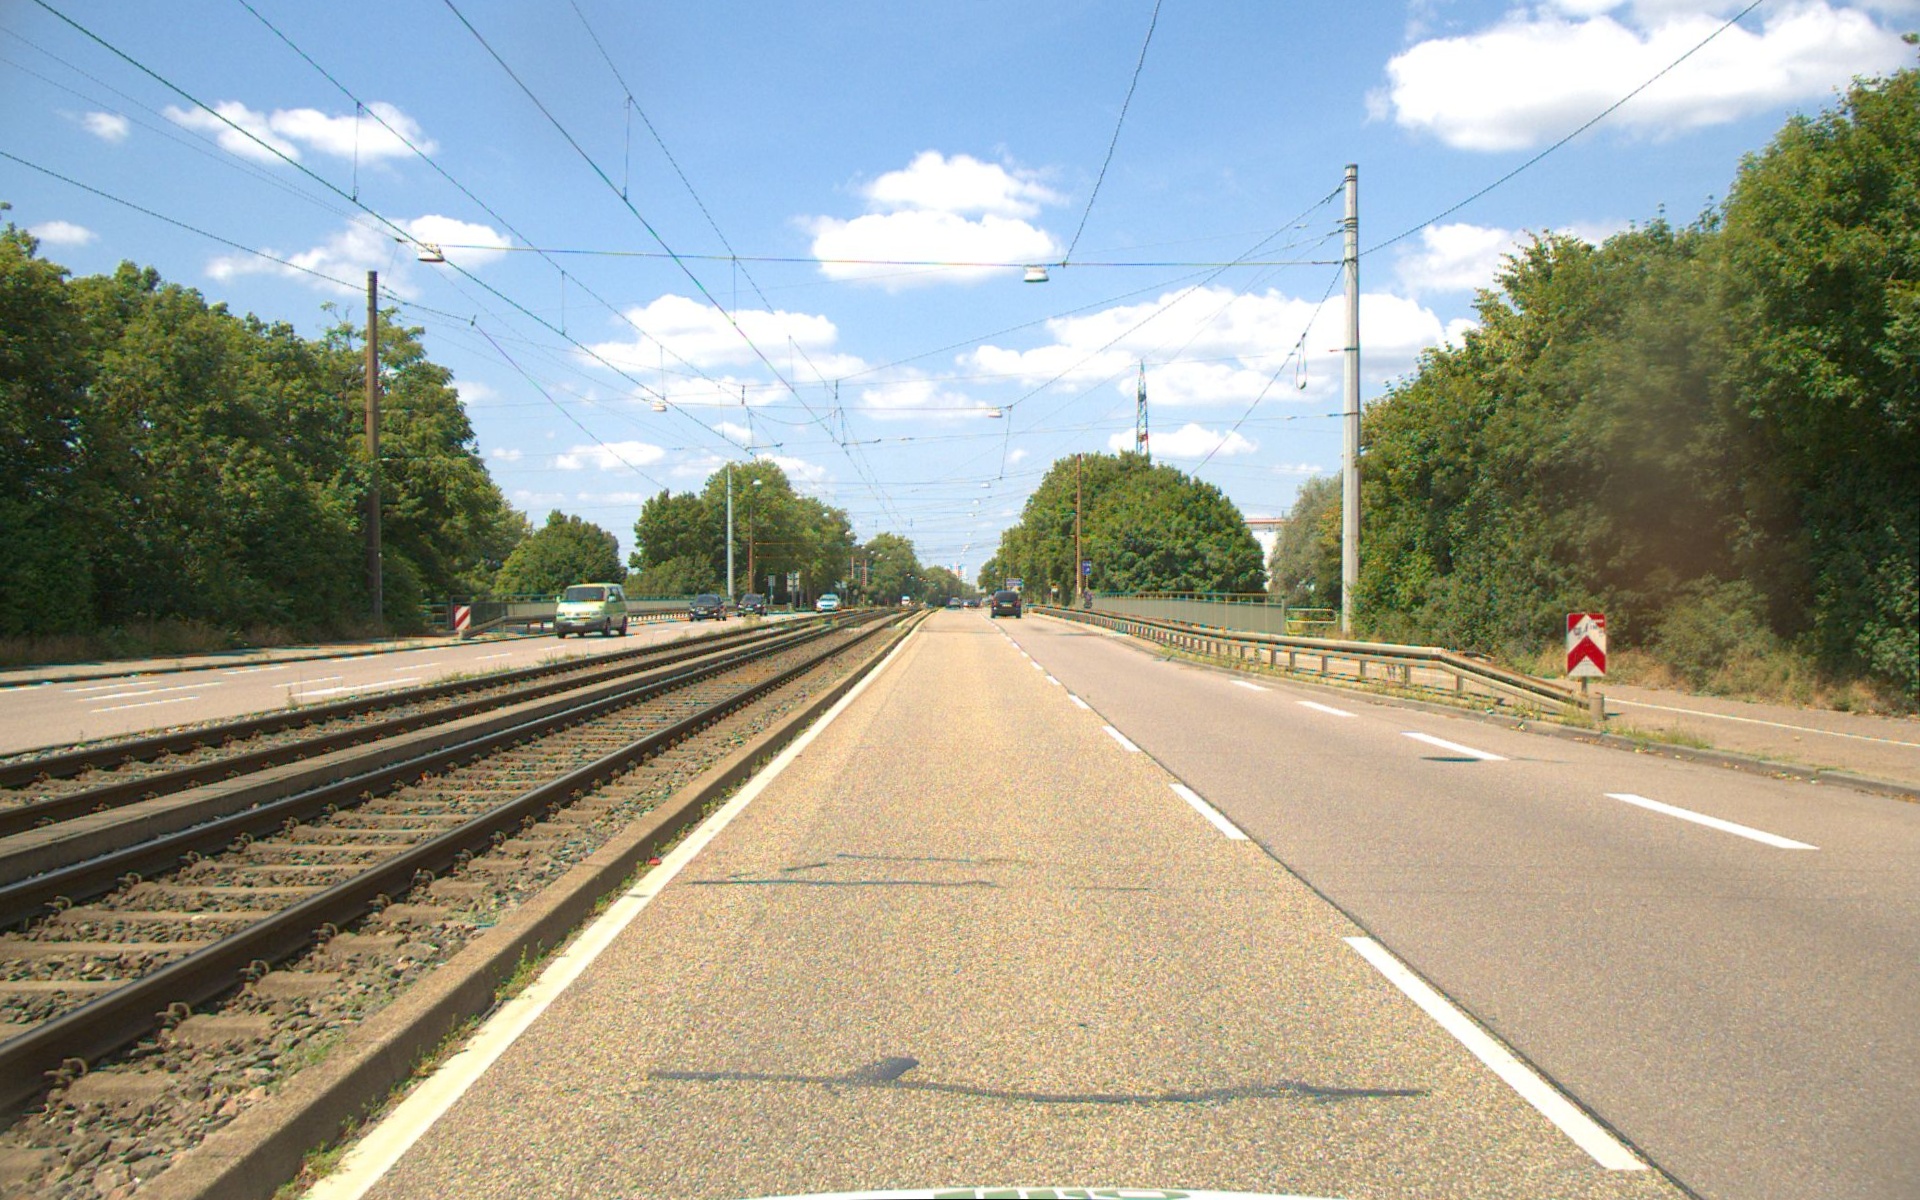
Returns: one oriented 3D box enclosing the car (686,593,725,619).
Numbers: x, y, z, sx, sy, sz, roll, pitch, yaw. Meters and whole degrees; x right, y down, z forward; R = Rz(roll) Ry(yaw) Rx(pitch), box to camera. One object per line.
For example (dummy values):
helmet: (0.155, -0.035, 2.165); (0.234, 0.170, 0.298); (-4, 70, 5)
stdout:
car: (-13.935, 0.348, 90.745); (1.531, 1.371, 3.928); (-1, 0, 0)

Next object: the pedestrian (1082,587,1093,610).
pedestrian: (7.995, -0.092, 103.730); (0.615, 1.398, 1.050); (0, 0, 0)

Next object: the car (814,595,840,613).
car: (-10.641, 0.328, 132.889); (1.676, 1.445, 4.624); (-1, 0, 0)

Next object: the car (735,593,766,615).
car: (-13.915, 0.295, 109.971); (1.542, 1.424, 3.937); (0, 0, -1)

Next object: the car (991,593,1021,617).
car: (2.703, 0.274, 96.995); (1.554, 1.366, 3.271); (0, 0, -2)

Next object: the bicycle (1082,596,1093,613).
bicycle: (7.988, 0.265, 103.777); (0.548, 1.042, 1.848); (0, -1, 0)

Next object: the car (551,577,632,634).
car: (-13.371, 0.204, 60.286); (1.774, 1.959, 5.178); (-1, 0, 0)
